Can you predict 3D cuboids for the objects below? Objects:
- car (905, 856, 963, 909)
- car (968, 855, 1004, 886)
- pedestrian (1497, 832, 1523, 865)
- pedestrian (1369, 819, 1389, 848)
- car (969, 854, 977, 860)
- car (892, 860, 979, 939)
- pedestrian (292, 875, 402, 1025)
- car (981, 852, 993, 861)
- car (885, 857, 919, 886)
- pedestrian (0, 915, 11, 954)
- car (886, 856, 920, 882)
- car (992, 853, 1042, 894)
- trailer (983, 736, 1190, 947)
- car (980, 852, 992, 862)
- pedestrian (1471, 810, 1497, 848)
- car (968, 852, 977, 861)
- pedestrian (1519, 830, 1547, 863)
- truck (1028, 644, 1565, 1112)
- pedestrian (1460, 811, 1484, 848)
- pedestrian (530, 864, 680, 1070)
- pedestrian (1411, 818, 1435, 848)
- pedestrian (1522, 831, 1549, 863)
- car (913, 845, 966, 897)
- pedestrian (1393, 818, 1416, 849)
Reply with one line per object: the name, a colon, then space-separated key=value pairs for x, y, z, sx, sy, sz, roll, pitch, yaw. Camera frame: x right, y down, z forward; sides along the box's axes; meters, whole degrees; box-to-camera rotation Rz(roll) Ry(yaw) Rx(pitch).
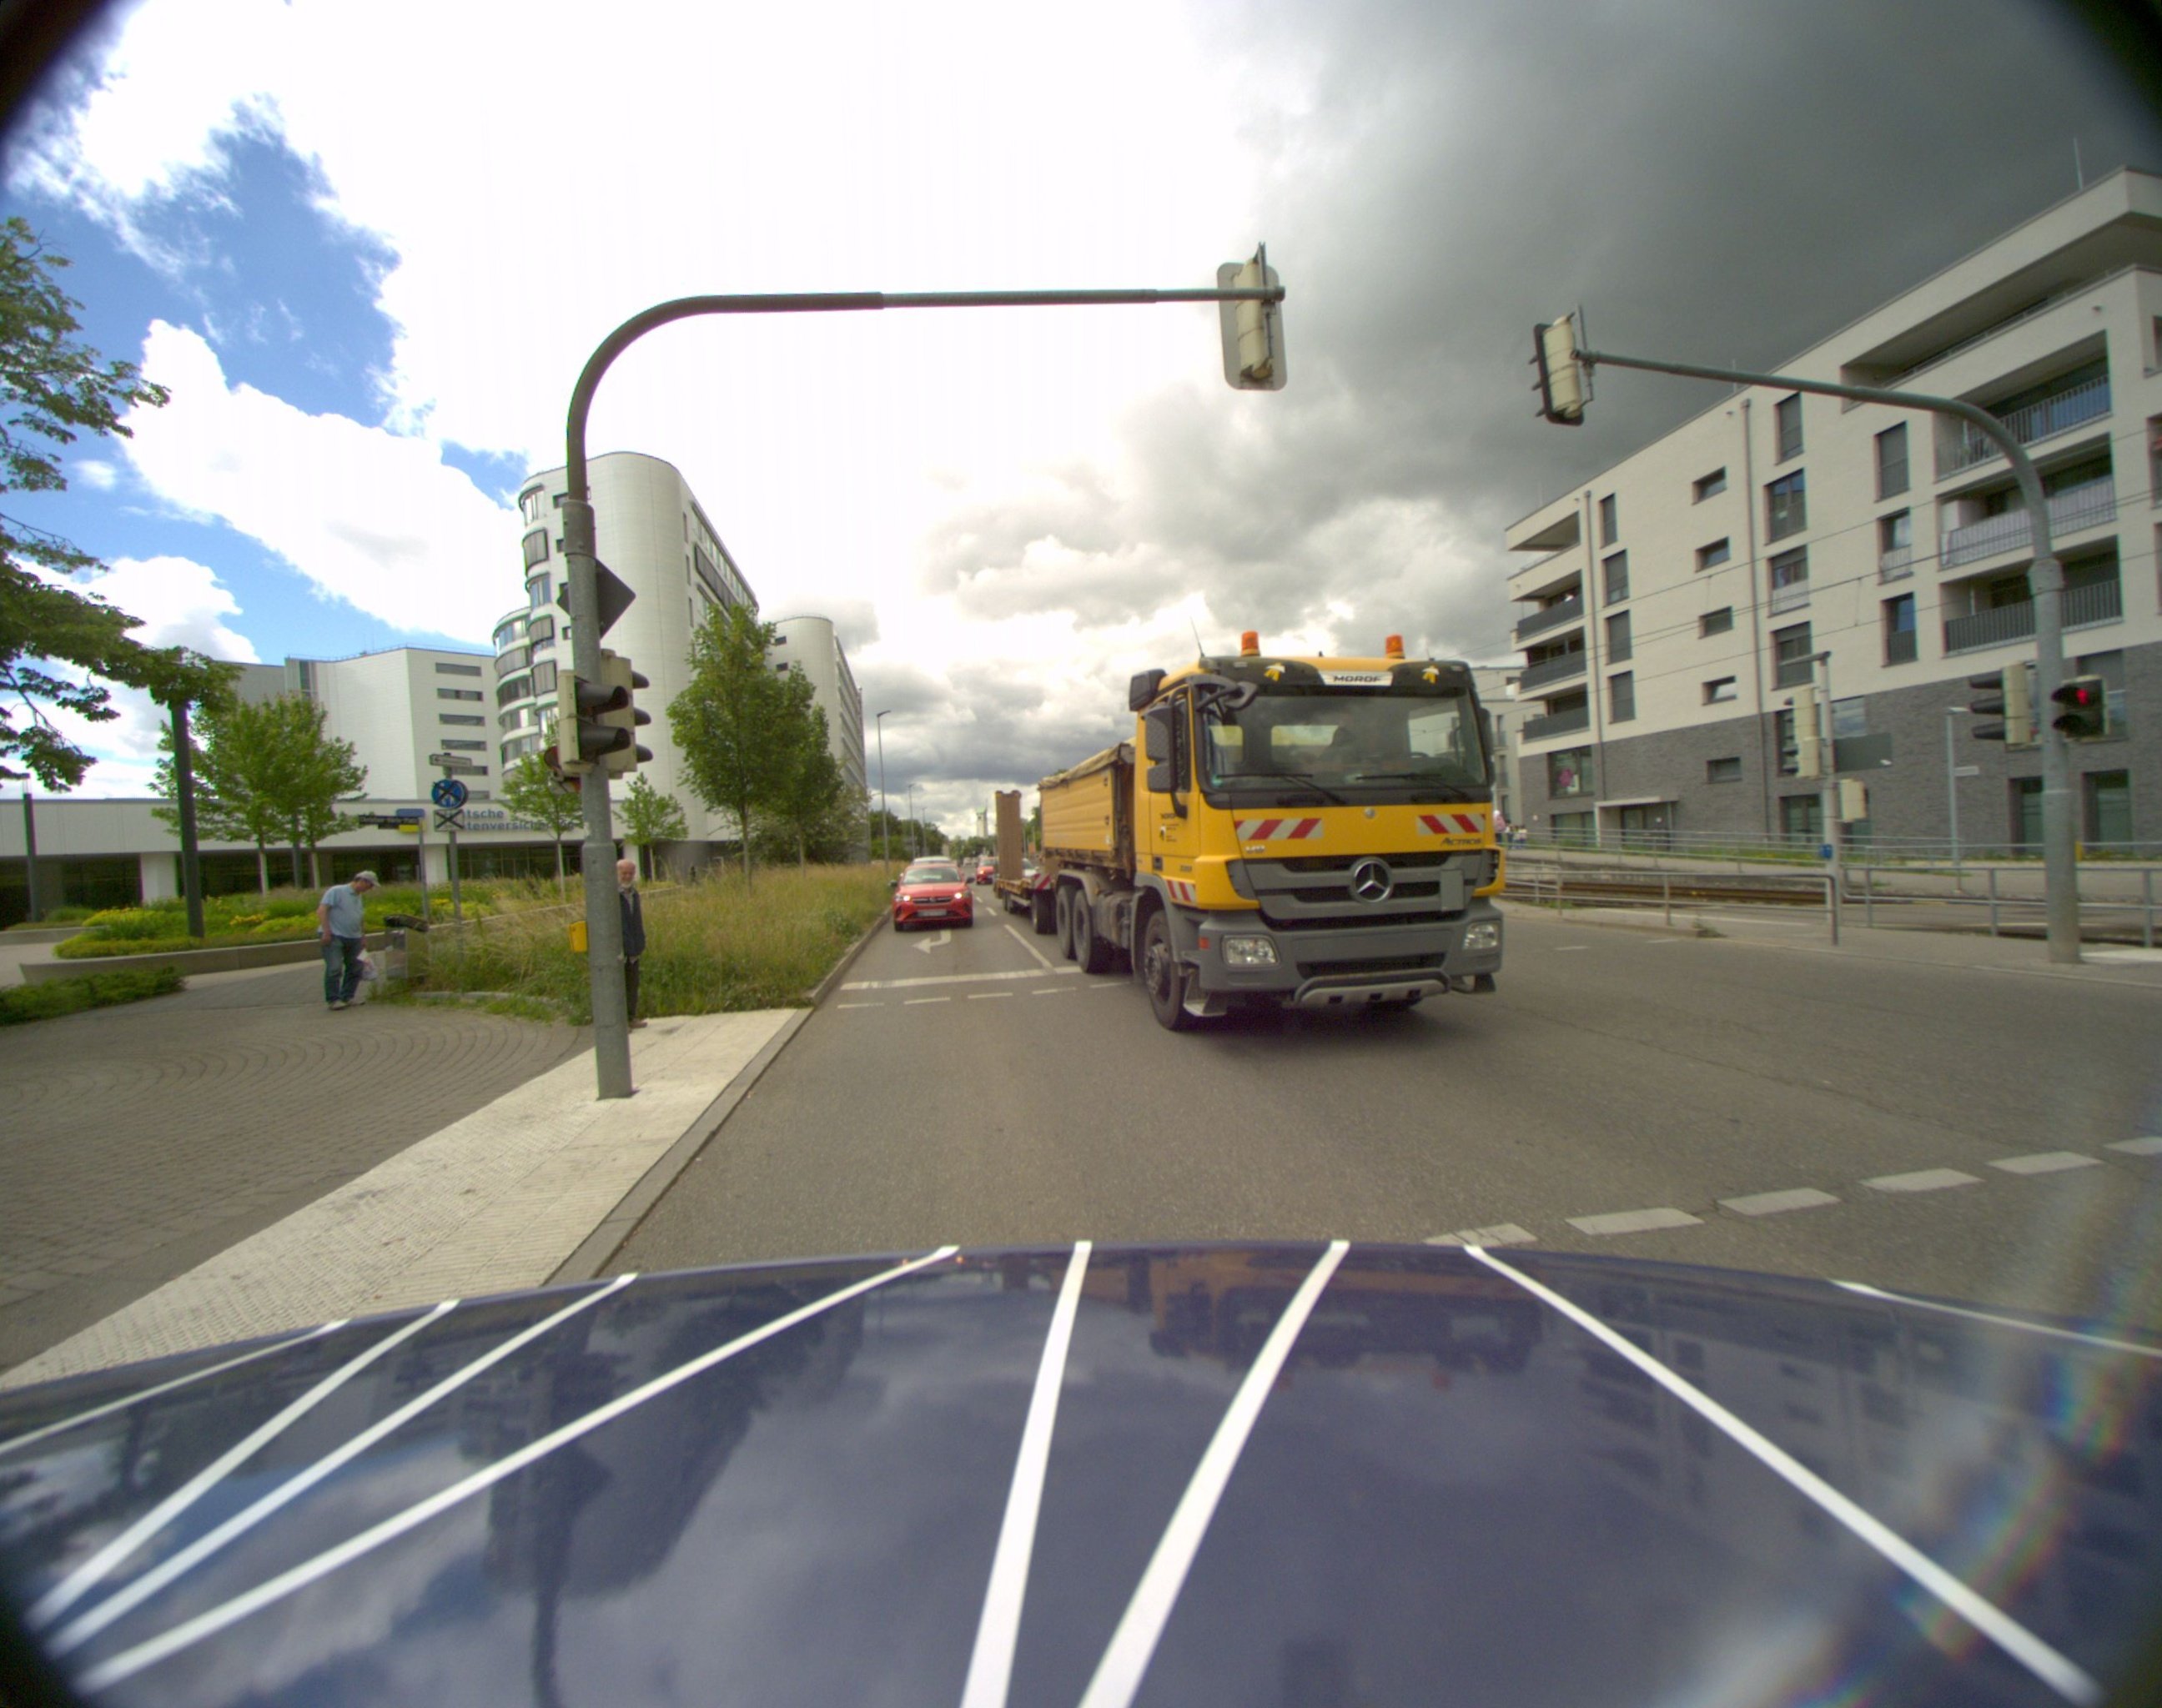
car: x=-4.979 y=0.903 z=25.797 sx=1.739 sy=1.565 sz=3.442 roll=-3 pitch=1 yaw=-11
car: x=-5.200 y=0.835 z=41.130 sx=1.694 sy=1.471 sz=3.996 roll=-3 pitch=1 yaw=-10
pedestrian: x=18.852 y=-0.250 z=33.407 sx=0.716 sy=1.401 sz=0.670 roll=-3 pitch=1 yaw=-11
pedestrian: x=15.969 y=-1.109 z=40.759 sx=0.716 sy=1.509 sz=0.670 roll=-3 pitch=1 yaw=-11
car: x=-29.545 y=0.758 z=207.952 sx=1.771 sy=1.489 sz=3.550 roll=-3 pitch=1 yaw=-10
car: x=-3.370 y=0.963 z=17.846 sx=1.694 sy=1.471 sz=3.996 roll=-3 pitch=1 yaw=-10
pedestrian: x=-9.321 y=1.181 z=9.681 sx=0.694 sy=1.780 sz=0.727 roll=-3 pitch=1 yaw=-20
car: x=-15.514 y=0.452 z=125.236 sx=1.706 sy=1.449 sz=3.563 roll=-3 pitch=0 yaw=-10
car: x=-10.487 y=1.012 z=44.746 sx=1.739 sy=1.565 sz=3.442 roll=-3 pitch=1 yaw=-11
pedestrian: x=-36.517 y=2.713 z=25.343 sx=0.703 sy=1.266 sz=0.887 roll=-2 pitch=1 yaw=33
car: x=-11.584 y=0.925 z=49.729 sx=1.851 sy=1.565 sz=4.619 roll=-3 pitch=1 yaw=-11
car: x=-2.747 y=0.758 z=32.034 sx=1.694 sy=1.471 sz=3.996 roll=-3 pitch=1 yaw=-10
trailer: x=-0.551 y=-0.256 z=18.396 sx=2.715 sy=3.501 sz=10.903 roll=-3 pitch=1 yaw=-11
car: x=-17.502 y=0.549 z=139.631 sx=1.889 sy=1.761 sz=4.859 roll=-3 pitch=0 yaw=-10
pedestrian: x=18.416 y=-1.124 z=34.726 sx=0.716 sy=1.677 sz=0.764 roll=-3 pitch=1 yaw=-11
car: x=-26.445 y=0.591 z=184.754 sx=2.000 sy=2.002 sz=3.996 roll=-3 pitch=1 yaw=-10
pedestrian: x=19.351 y=-0.317 z=32.514 sx=0.716 sy=1.401 sz=0.670 roll=-3 pitch=1 yaw=-11
truck: x=1.296 y=0.044 z=8.913 sx=2.729 sy=2.986 sz=7.770 roll=-3 pitch=1 yaw=-11
pedestrian: x=21.740 y=-1.336 z=42.265 sx=0.913 sy=2.002 sz=0.670 roll=-3 pitch=1 yaw=-11
pedestrian: x=-4.389 y=0.984 z=7.026 sx=0.953 sy=1.730 sz=0.729 roll=-2 pitch=1 yaw=30
pedestrian: x=15.986 y=-0.978 z=35.548 sx=0.716 sy=1.401 sz=0.670 roll=-3 pitch=1 yaw=-11
pedestrian: x=20.045 y=-0.305 z=33.530 sx=0.716 sy=1.401 sz=0.670 roll=-3 pitch=1 yaw=-11
car: x=-6.079 y=0.690 z=32.798 sx=2.000 sy=2.002 sz=3.996 roll=-3 pitch=1 yaw=-10
pedestrian: x=15.396 y=-0.969 z=36.129 sx=0.716 sy=1.401 sz=0.670 roll=-3 pitch=1 yaw=-11
